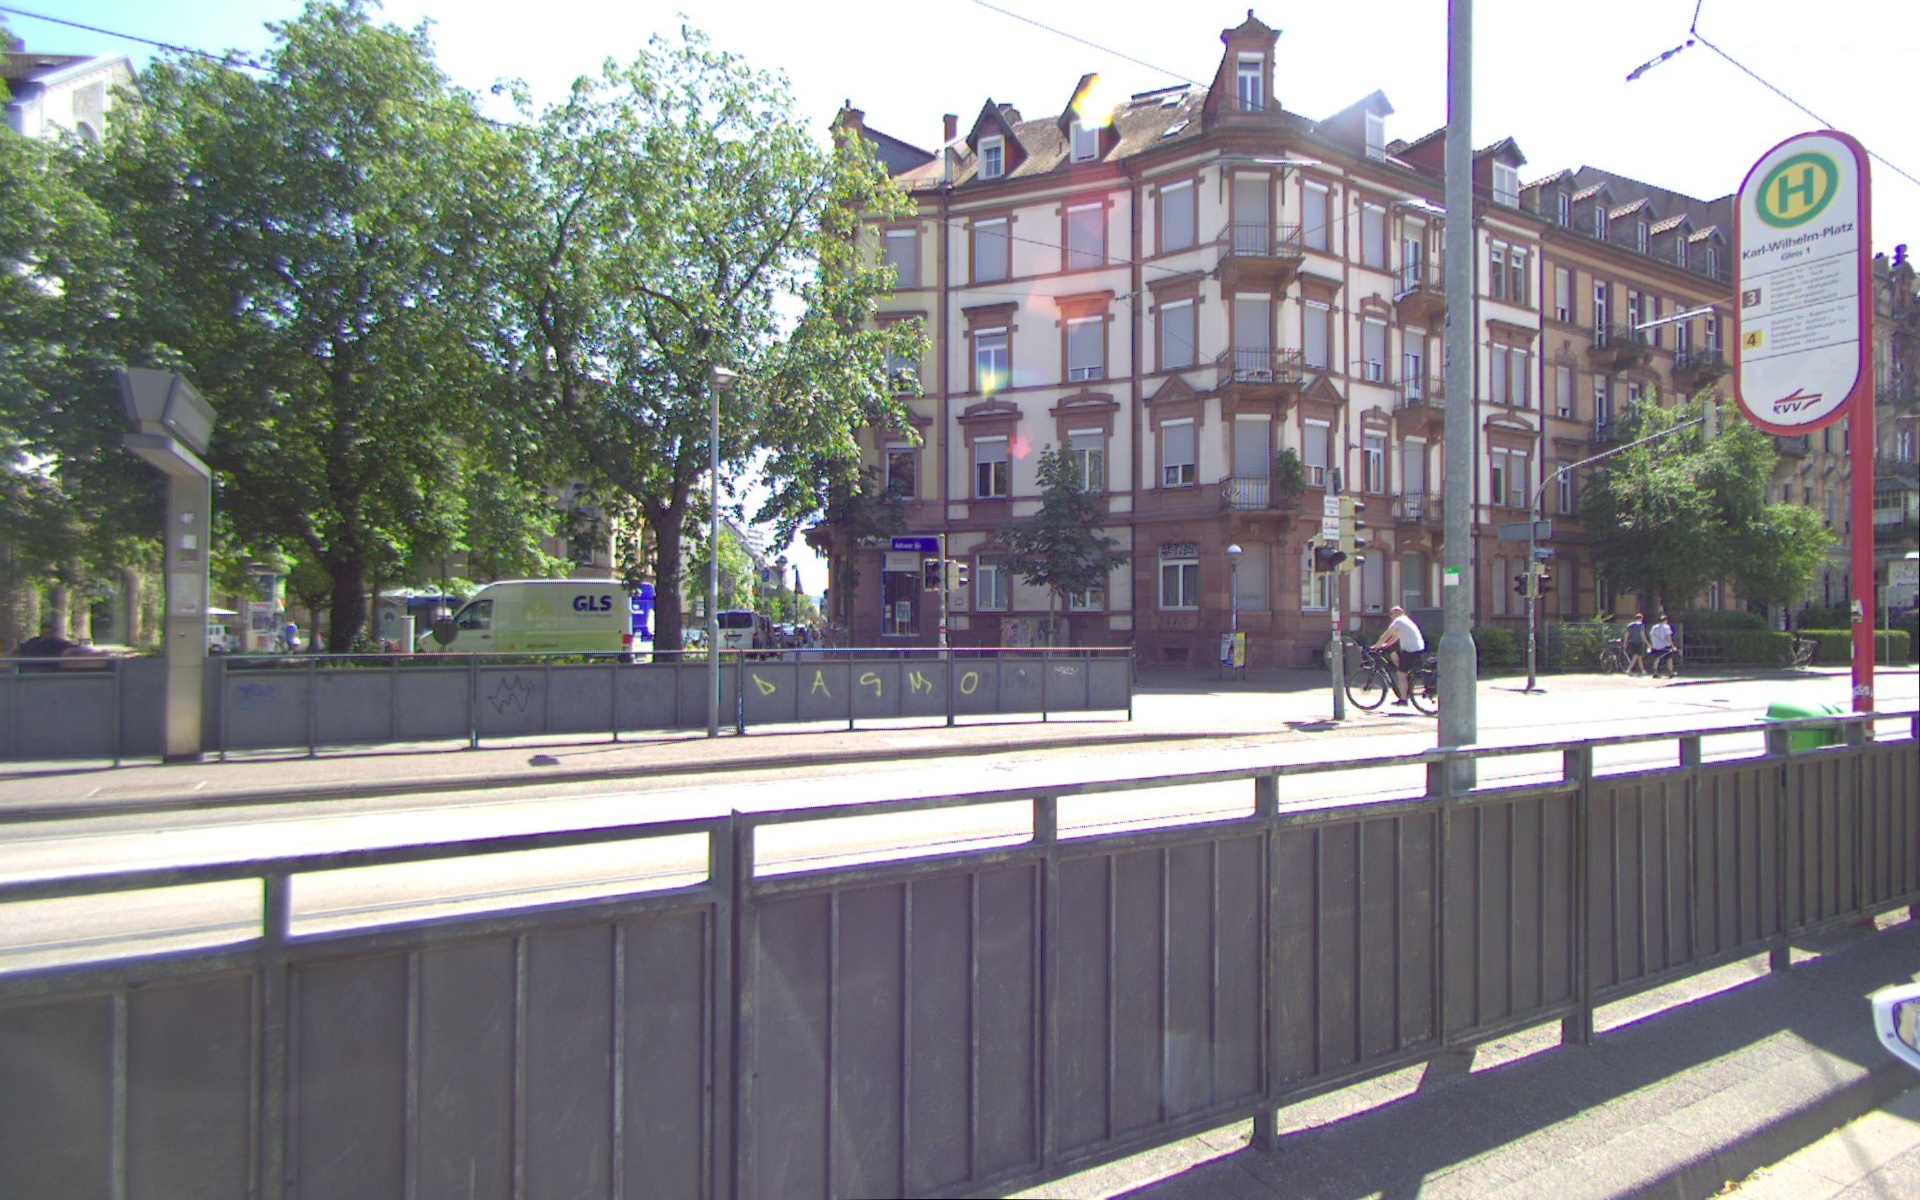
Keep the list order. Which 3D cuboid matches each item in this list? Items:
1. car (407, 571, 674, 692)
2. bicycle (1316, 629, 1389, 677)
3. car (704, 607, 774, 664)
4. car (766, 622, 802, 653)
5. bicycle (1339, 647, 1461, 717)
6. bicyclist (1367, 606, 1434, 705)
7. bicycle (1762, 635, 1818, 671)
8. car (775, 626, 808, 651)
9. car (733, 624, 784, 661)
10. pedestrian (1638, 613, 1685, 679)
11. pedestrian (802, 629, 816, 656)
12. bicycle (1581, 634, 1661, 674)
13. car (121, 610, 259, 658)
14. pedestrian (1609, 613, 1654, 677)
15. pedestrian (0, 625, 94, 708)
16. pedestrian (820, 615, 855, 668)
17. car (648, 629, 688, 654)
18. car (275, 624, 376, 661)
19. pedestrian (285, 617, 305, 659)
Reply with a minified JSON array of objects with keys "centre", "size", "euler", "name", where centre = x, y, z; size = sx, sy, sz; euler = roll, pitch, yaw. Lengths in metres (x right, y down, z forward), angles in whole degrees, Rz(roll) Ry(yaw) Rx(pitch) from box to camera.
[{"centre":[-10.413,0.746,25.210],"size":[5.710,2.709,2.275],"euler":[2,0,5],"name":"car"},{"centre":[11.661,1.560,29.863],"size":[1.923,1.312,0.564],"euler":[2,0,11],"name":"bicycle"},{"centre":[-8.333,1.302,38.215],"size":[1.962,1.970,3.998],"euler":[2,0,-4],"name":"car"},{"centre":[-10.380,2.180,59.452],"size":[1.684,1.617,3.998],"euler":[2,0,-4],"name":"car"},{"centre":[7.358,1.345,16.829],"size":[1.742,1.070,0.696],"euler":[0,-2,45],"name":"bicycle"},{"centre":[7.370,0.911,16.811],"size":[0.838,1.613,0.696],"euler":[0,-1,44],"name":"bicyclist"},{"centre":[28.512,1.805,34.499],"size":[2.750,1.151,0.930],"euler":[2,0,-39],"name":"bicycle"},{"centre":[-12.492,2.848,74.756],"size":[1.962,1.617,3.998],"euler":[2,0,-4],"name":"car"},{"centre":[-9.631,2.014,48.287],"size":[1.893,1.541,3.998],"euler":[2,0,-4],"name":"car"},{"centre":[20.395,1.321,29.220],"size":[0.863,1.847,0.812],"euler":[0,1,-30],"name":"pedestrian"},{"centre":[-9.241,2.583,61.395],"size":[0.790,1.632,0.731],"euler":[0,-1,-4],"name":"pedestrian"},{"centre":[20.224,1.648,30.718],"size":[2.742,1.151,0.932],"euler":[2,0,-31],"name":"bicycle"},{"centre":[-31.194,1.371,40.812],"size":[3.932,1.814,1.994],"euler":[2,0,-14],"name":"car"},{"centre":[19.963,1.317,29.859],"size":[0.863,1.847,0.812],"euler":[0,1,-30],"name":"pedestrian"},{"centre":[-14.663,1.047,16.103],"size":[0.925,1.261,0.860],"euler":[2,0,-24],"name":"pedestrian"},{"centre":[-3.997,1.340,32.874],"size":[1.041,1.712,0.723],"euler":[0,-1,1],"name":"pedestrian"},{"centre":[-20.667,2.921,71.161],"size":[1.846,1.617,3.998],"euler":[2,0,-4],"name":"car"},{"centre":[-32.082,2.163,50.887],"size":[3.920,1.730,1.761],"euler":[2,0,-14],"name":"car"},{"centre":[-27.353,1.553,41.324],"size":[0.506,1.692,0.491],"euler":[0,-1,-8],"name":"pedestrian"}]
